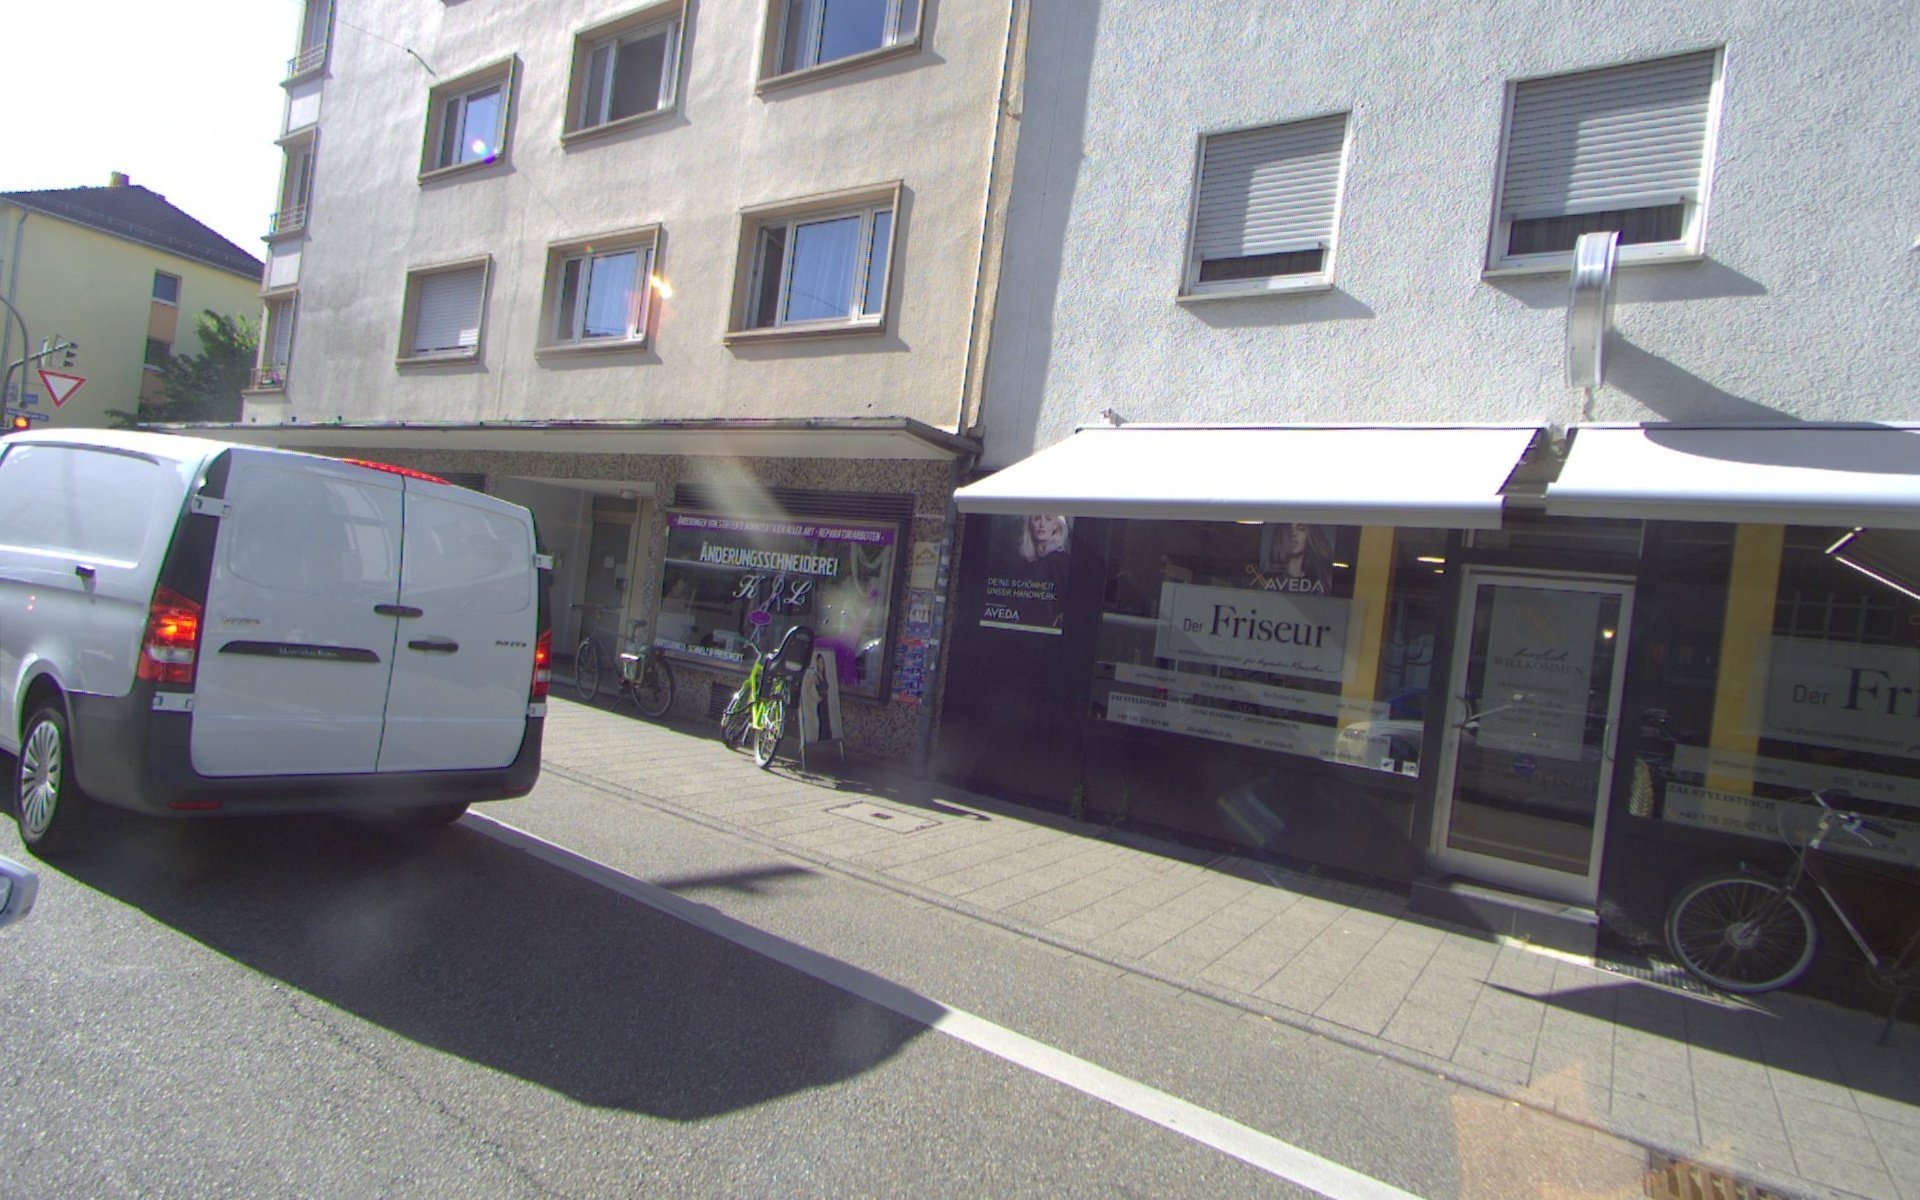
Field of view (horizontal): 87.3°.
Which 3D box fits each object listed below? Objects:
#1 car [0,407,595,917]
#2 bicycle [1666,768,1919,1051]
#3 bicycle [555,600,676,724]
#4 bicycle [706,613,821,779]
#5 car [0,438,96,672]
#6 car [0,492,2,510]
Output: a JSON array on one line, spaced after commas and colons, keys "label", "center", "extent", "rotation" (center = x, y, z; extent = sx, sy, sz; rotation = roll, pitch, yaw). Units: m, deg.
[{"label": "car", "center": [-4.552, 0.087, 5.833], "extent": [4.916, 1.890, 1.839], "rotation": [7, -2, 34]}, {"label": "bicycle", "center": [4.810, 1.642, 5.212], "extent": [1.764, 1.192, 0.401], "rotation": [7, 0, 35]}, {"label": "bicycle", "center": [-3.849, 0.662, 11.172], "extent": [1.704, 1.149, 0.400], "rotation": [7, 0, 43]}, {"label": "bicycle", "center": [-1.852, 0.835, 9.282], "extent": [0.434, 1.266, 1.747], "rotation": [5, 1, -28]}, {"label": "car", "center": [-10.524, -0.667, 9.735], "extent": [4.817, 2.003, 1.995], "rotation": [7, -1, 35]}, {"label": "car", "center": [-24.715, -2.113, 22.798], "extent": [1.802, 1.481, 3.991], "rotation": [7, -1, 34]}]
